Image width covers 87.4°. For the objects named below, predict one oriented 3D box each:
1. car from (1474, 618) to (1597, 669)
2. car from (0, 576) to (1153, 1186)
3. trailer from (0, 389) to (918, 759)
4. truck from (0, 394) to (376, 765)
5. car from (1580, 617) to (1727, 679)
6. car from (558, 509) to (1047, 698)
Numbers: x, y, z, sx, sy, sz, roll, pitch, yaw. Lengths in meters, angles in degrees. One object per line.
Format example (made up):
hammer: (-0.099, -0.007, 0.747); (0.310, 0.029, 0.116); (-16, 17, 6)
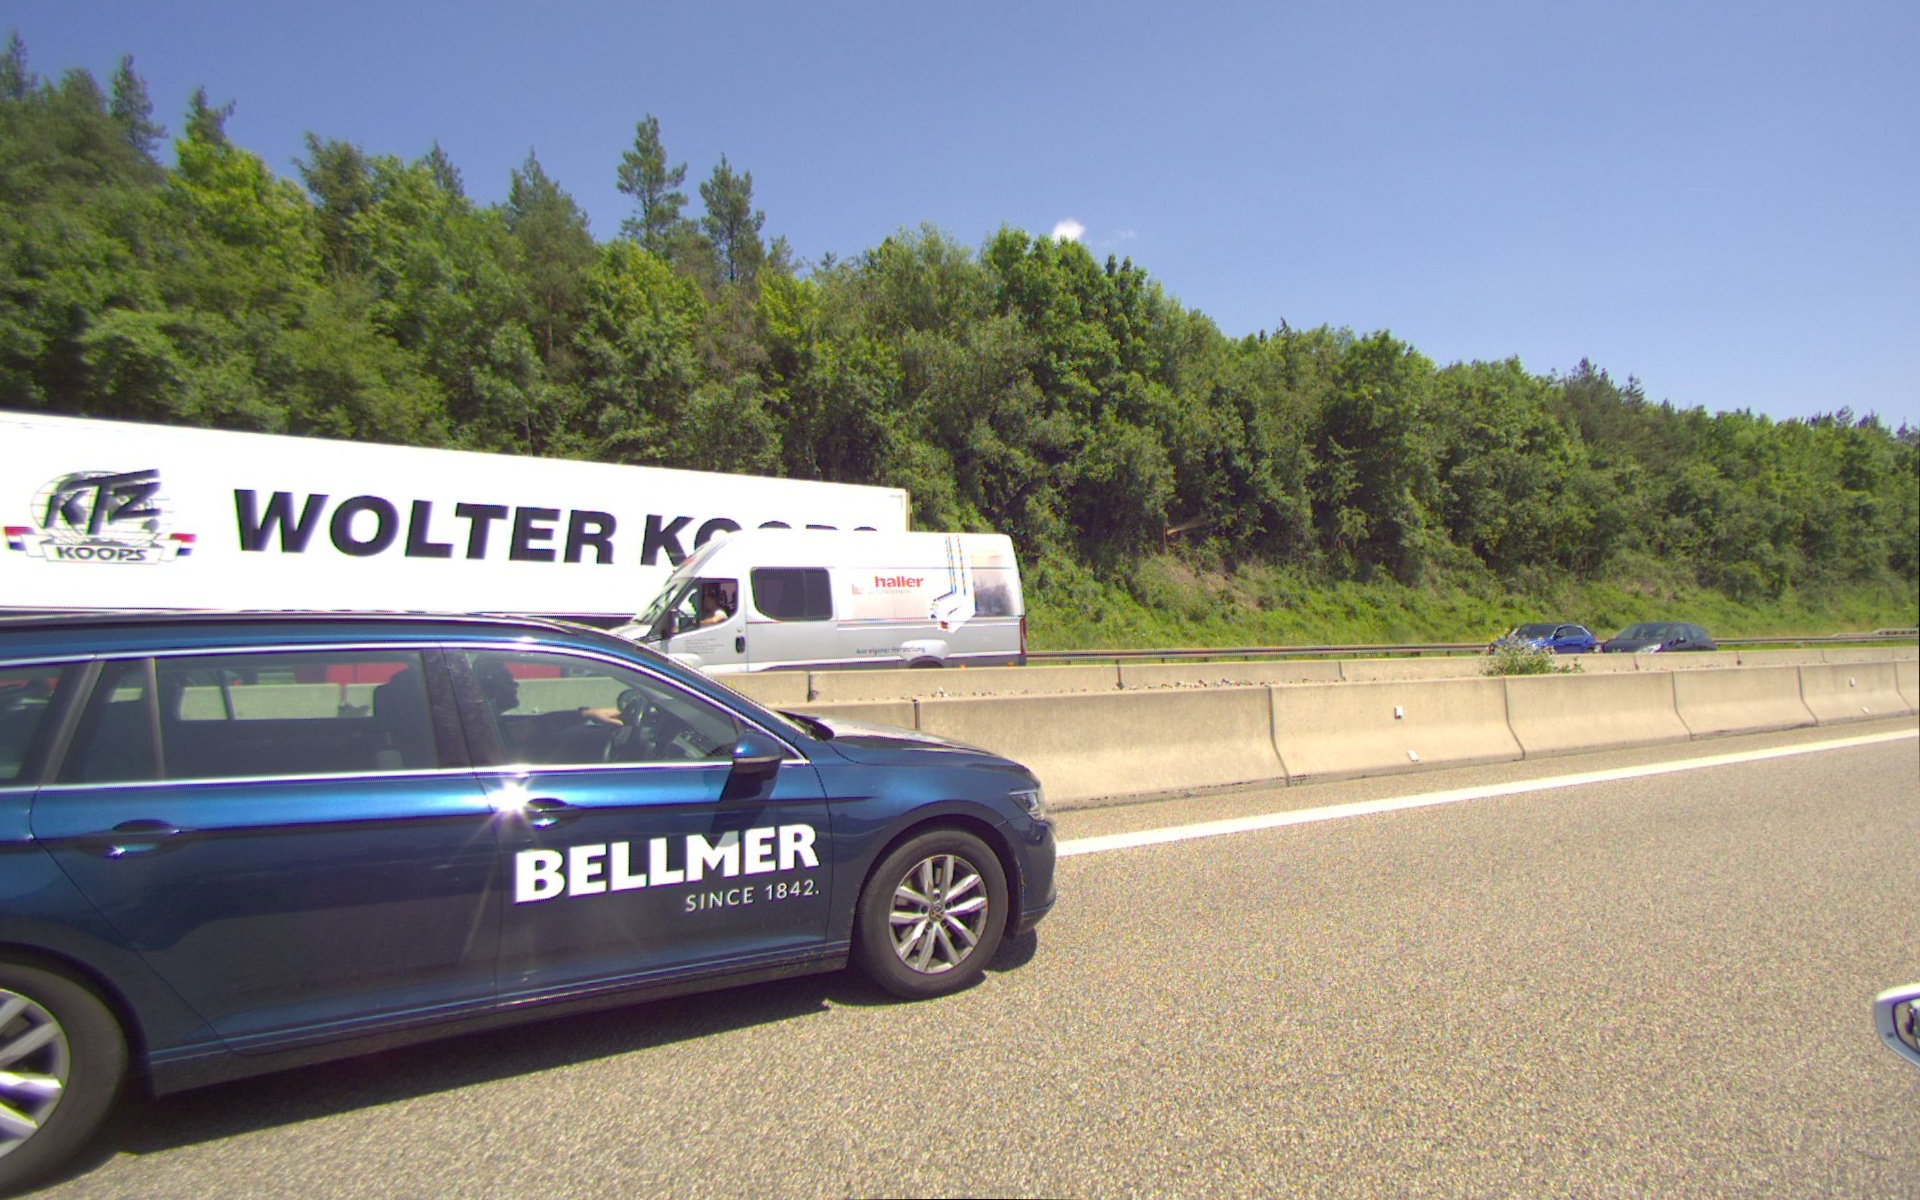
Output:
car: (19.189, 1.419, 33.465); (3.953, 1.614, 1.871); (1, -1, -30)
car: (-1.634, 0.732, 3.784); (4.674, 1.446, 1.725); (1, -3, -30)
trailer: (-7.385, -0.036, 17.253); (13.175, 4.586, 3.708); (2, -4, -30)
truck: (-12.516, -0.161, 14.210); (7.242, 4.586, 3.707); (2, -4, -31)
car: (19.286, 1.304, 27.918); (3.953, 1.614, 1.871); (1, -1, -30)
car: (-2.185, 0.116, 15.529); (7.278, 2.408, 1.984); (1, -1, -31)
